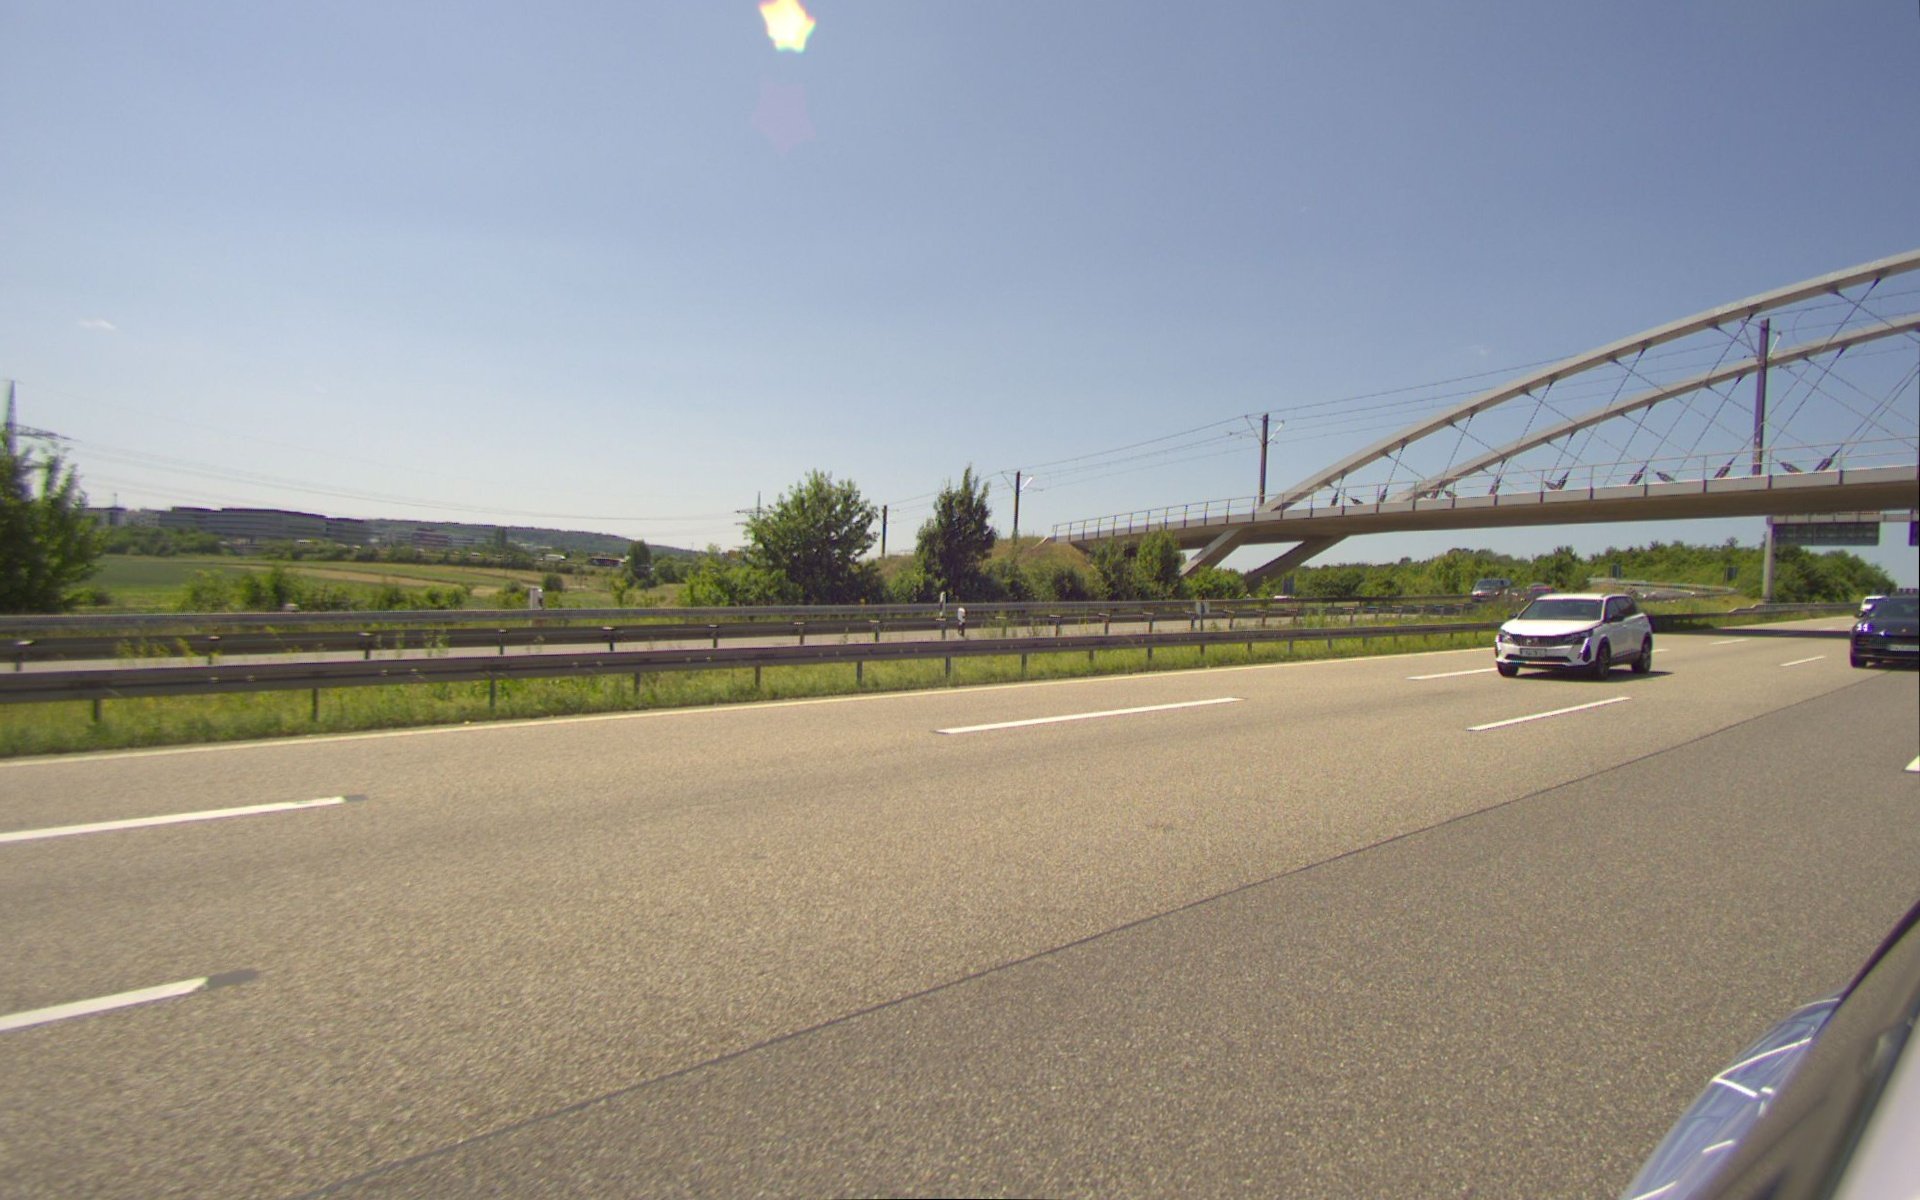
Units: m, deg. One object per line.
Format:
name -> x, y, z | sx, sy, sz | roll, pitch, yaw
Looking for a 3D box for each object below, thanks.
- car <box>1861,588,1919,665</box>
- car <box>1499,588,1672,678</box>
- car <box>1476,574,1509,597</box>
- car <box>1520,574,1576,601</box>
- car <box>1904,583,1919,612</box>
car -> 21.786, 0.546, 22.806 | 4.064, 1.615, 1.928 | -1, 0, -44
car -> 12.648, 0.582, 20.347 | 4.541, 1.611, 1.746 | -1, 0, -42
car -> 38.921, -1.036, 73.952 | 1.693, 1.595, 4.078 | 0, 0, 34
car -> 35.674, -0.751, 61.376 | 4.064, 1.615, 1.928 | -1, 0, -44
car -> 65.291, -0.184, 68.599 | 1.803, 1.943, 4.229 | -1, 0, 43
